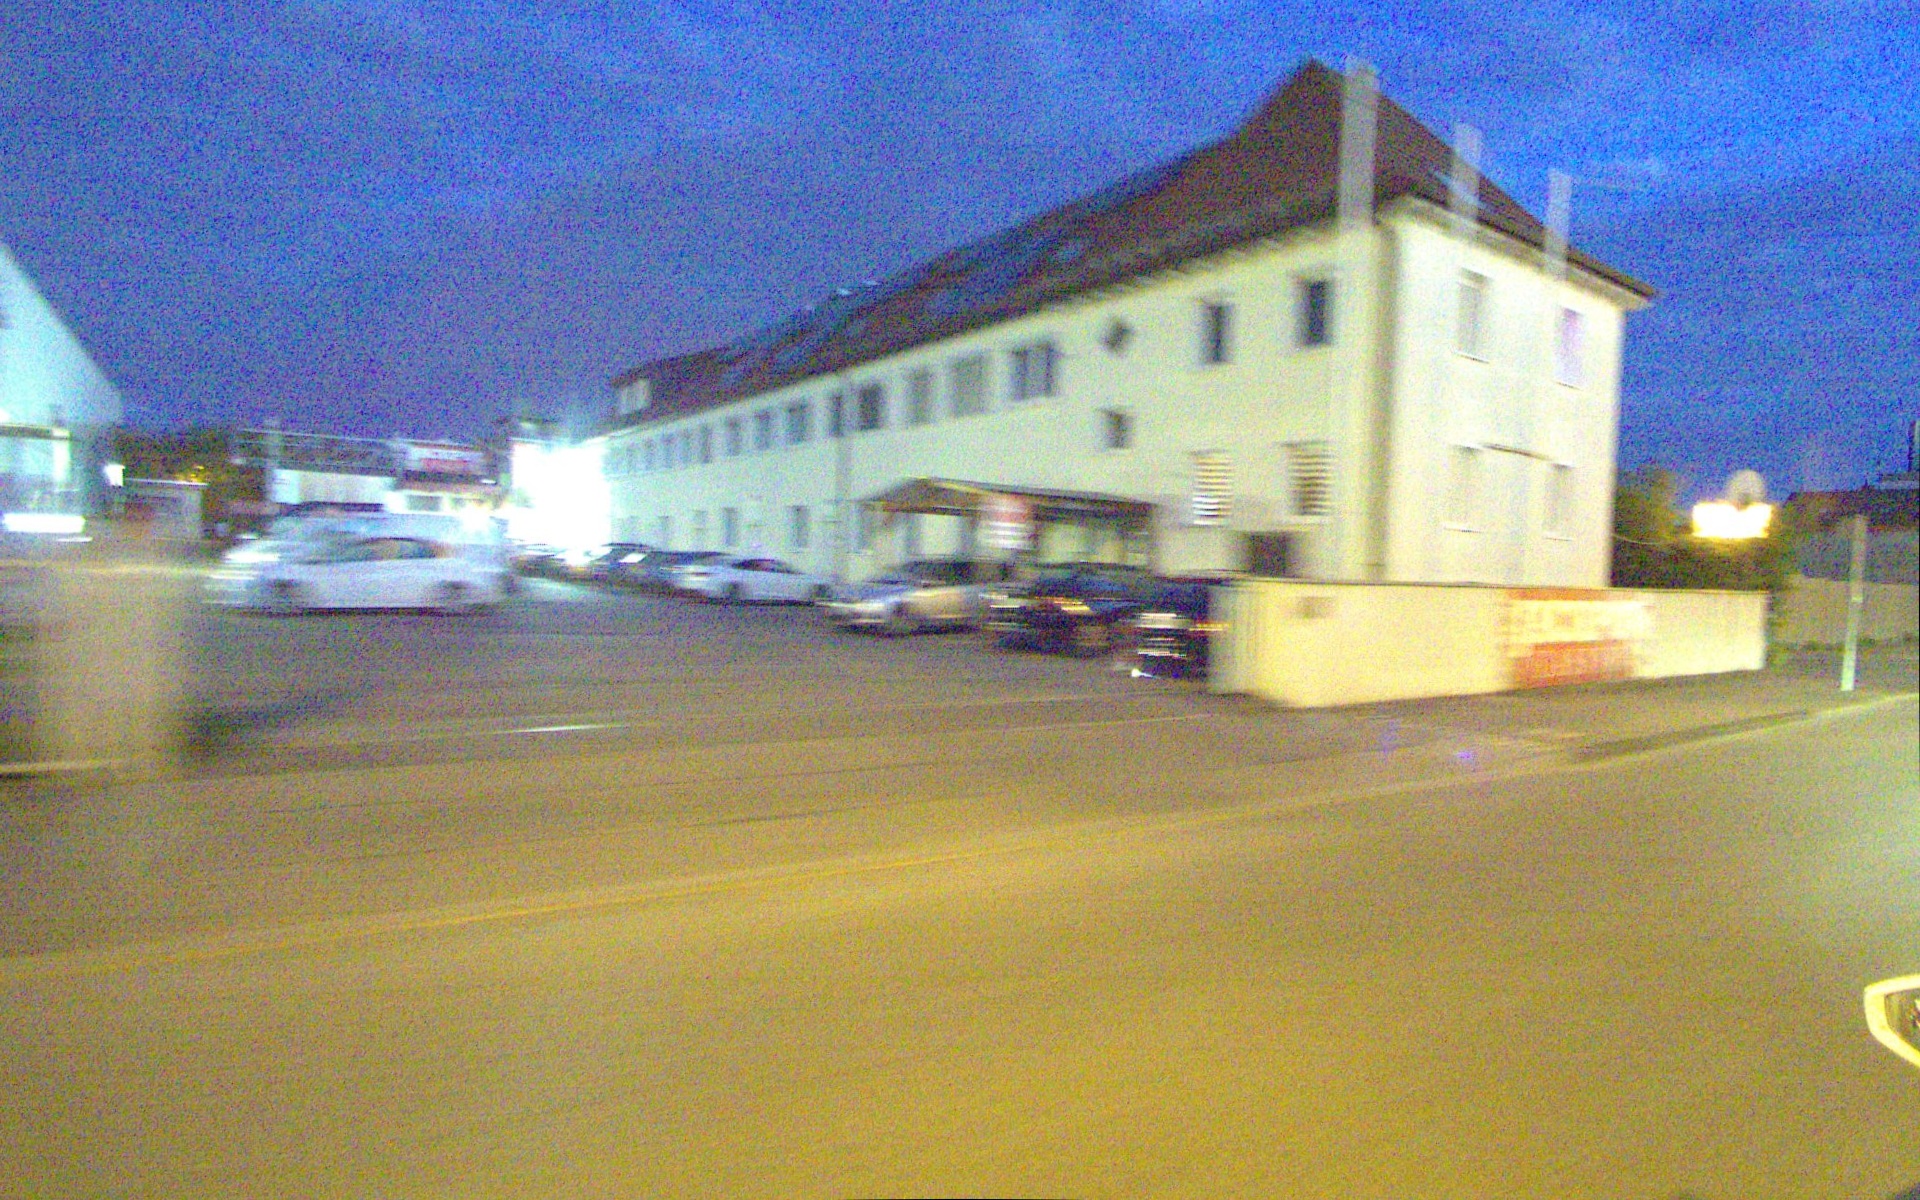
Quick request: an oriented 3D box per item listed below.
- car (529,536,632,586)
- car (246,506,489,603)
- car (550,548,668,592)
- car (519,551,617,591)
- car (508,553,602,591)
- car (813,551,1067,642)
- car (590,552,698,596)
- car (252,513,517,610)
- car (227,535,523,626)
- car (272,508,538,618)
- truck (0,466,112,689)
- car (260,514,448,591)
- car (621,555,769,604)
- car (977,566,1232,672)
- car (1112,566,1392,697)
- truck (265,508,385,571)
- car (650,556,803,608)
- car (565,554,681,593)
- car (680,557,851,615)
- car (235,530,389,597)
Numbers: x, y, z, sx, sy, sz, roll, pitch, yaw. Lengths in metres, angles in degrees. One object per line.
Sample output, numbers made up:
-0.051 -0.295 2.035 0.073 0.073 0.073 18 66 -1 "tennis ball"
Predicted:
-17.291 -1.724 45.855 3.979 2.040 1.952 1 0 -42 "car"
-15.739 -1.155 26.870 5.362 2.265 2.004 1 2 -39 "car"
-15.163 -1.271 43.491 4.392 1.707 1.952 2 0 -42 "car"
-18.841 -1.350 48.312 3.969 1.740 1.952 1 0 -42 "car"
-20.251 -1.381 50.270 3.969 1.740 1.952 1 0 -42 "car"
-0.312 -0.046 20.052 4.909 1.602 1.815 1 2 -37 "car"
-11.911 -0.971 37.973 3.531 1.514 1.603 0 2 -41 "car"
-13.808 -0.872 24.443 5.345 2.031 2.240 2 2 -30 "car"
-10.799 -0.323 18.745 4.572 1.484 1.829 1 2 -35 "car"
-11.682 -0.717 21.297 4.647 2.041 1.977 1 2 -39 "car"
-10.875 -0.303 8.503 5.244 1.926 1.987 2 2 -25 "truck"
-18.476 -1.376 30.718 4.746 2.040 1.867 1 0 -37 "car"
-8.825 -0.670 33.716 4.495 1.514 1.810 0 2 -43 "car"
2.544 0.272 16.923 4.495 1.514 1.810 0 2 -43 "car"
4.224 0.358 14.082 1.809 1.514 4.498 3 2 45 "car"
-28.581 -2.683 45.342 4.475 2.574 1.982 2 2 -33 "truck"
-7.386 -0.560 32.056 1.808 1.514 4.501 3 2 43 "car"
-13.805 -1.069 41.249 4.116 1.473 1.819 0 2 -41 "car"
-5.451 -0.377 28.565 4.495 1.514 1.810 0 2 -43 "car"
-24.404 -1.330 37.921 4.746 2.275 1.867 1 0 -37 "car"
